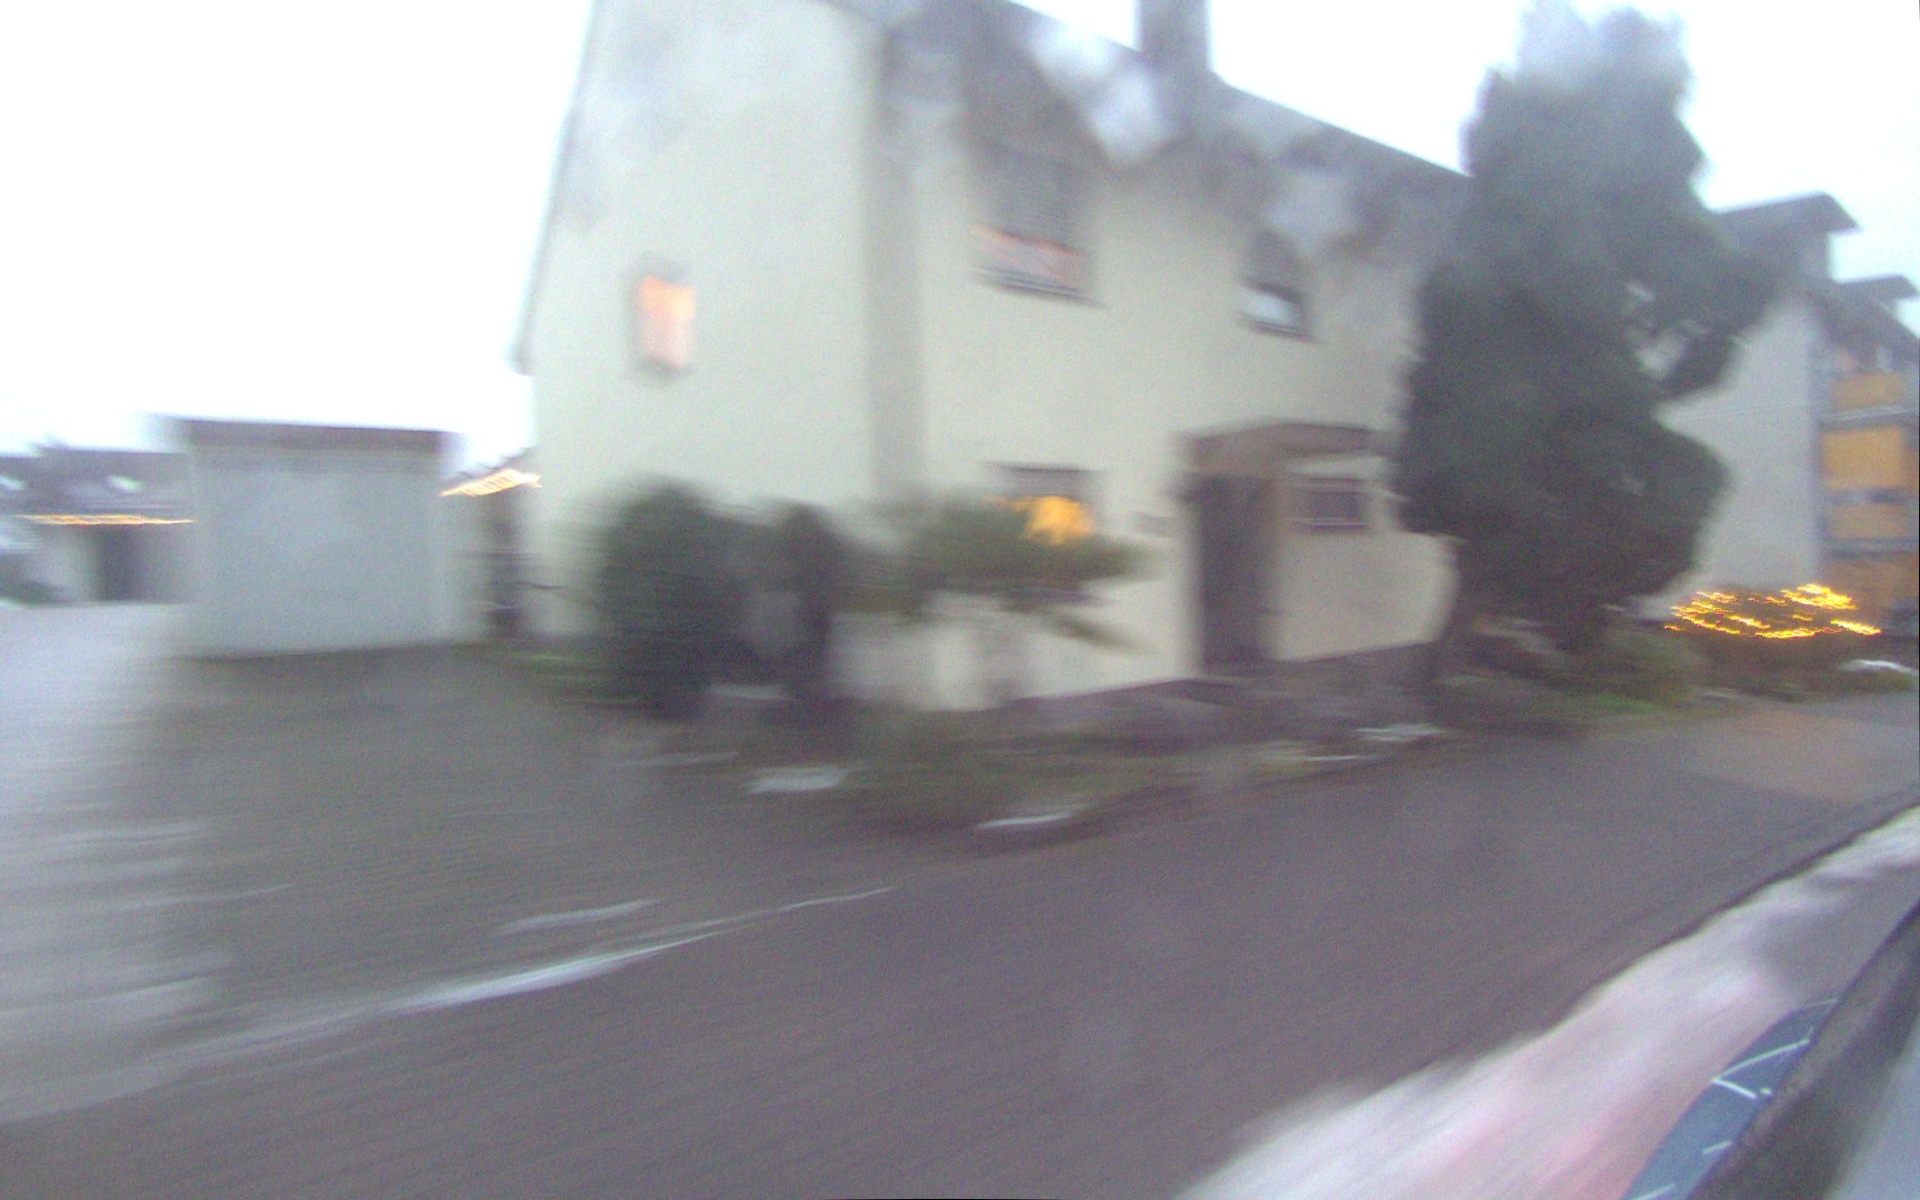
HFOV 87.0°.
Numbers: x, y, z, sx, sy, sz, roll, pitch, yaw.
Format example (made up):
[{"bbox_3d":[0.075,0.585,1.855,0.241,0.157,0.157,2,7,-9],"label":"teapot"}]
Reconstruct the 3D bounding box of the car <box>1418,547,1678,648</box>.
[{"bbox_3d":[12.231,-0.125,21.245,2.030,1.668,4.258,0,5,-44],"label":"car"}]
